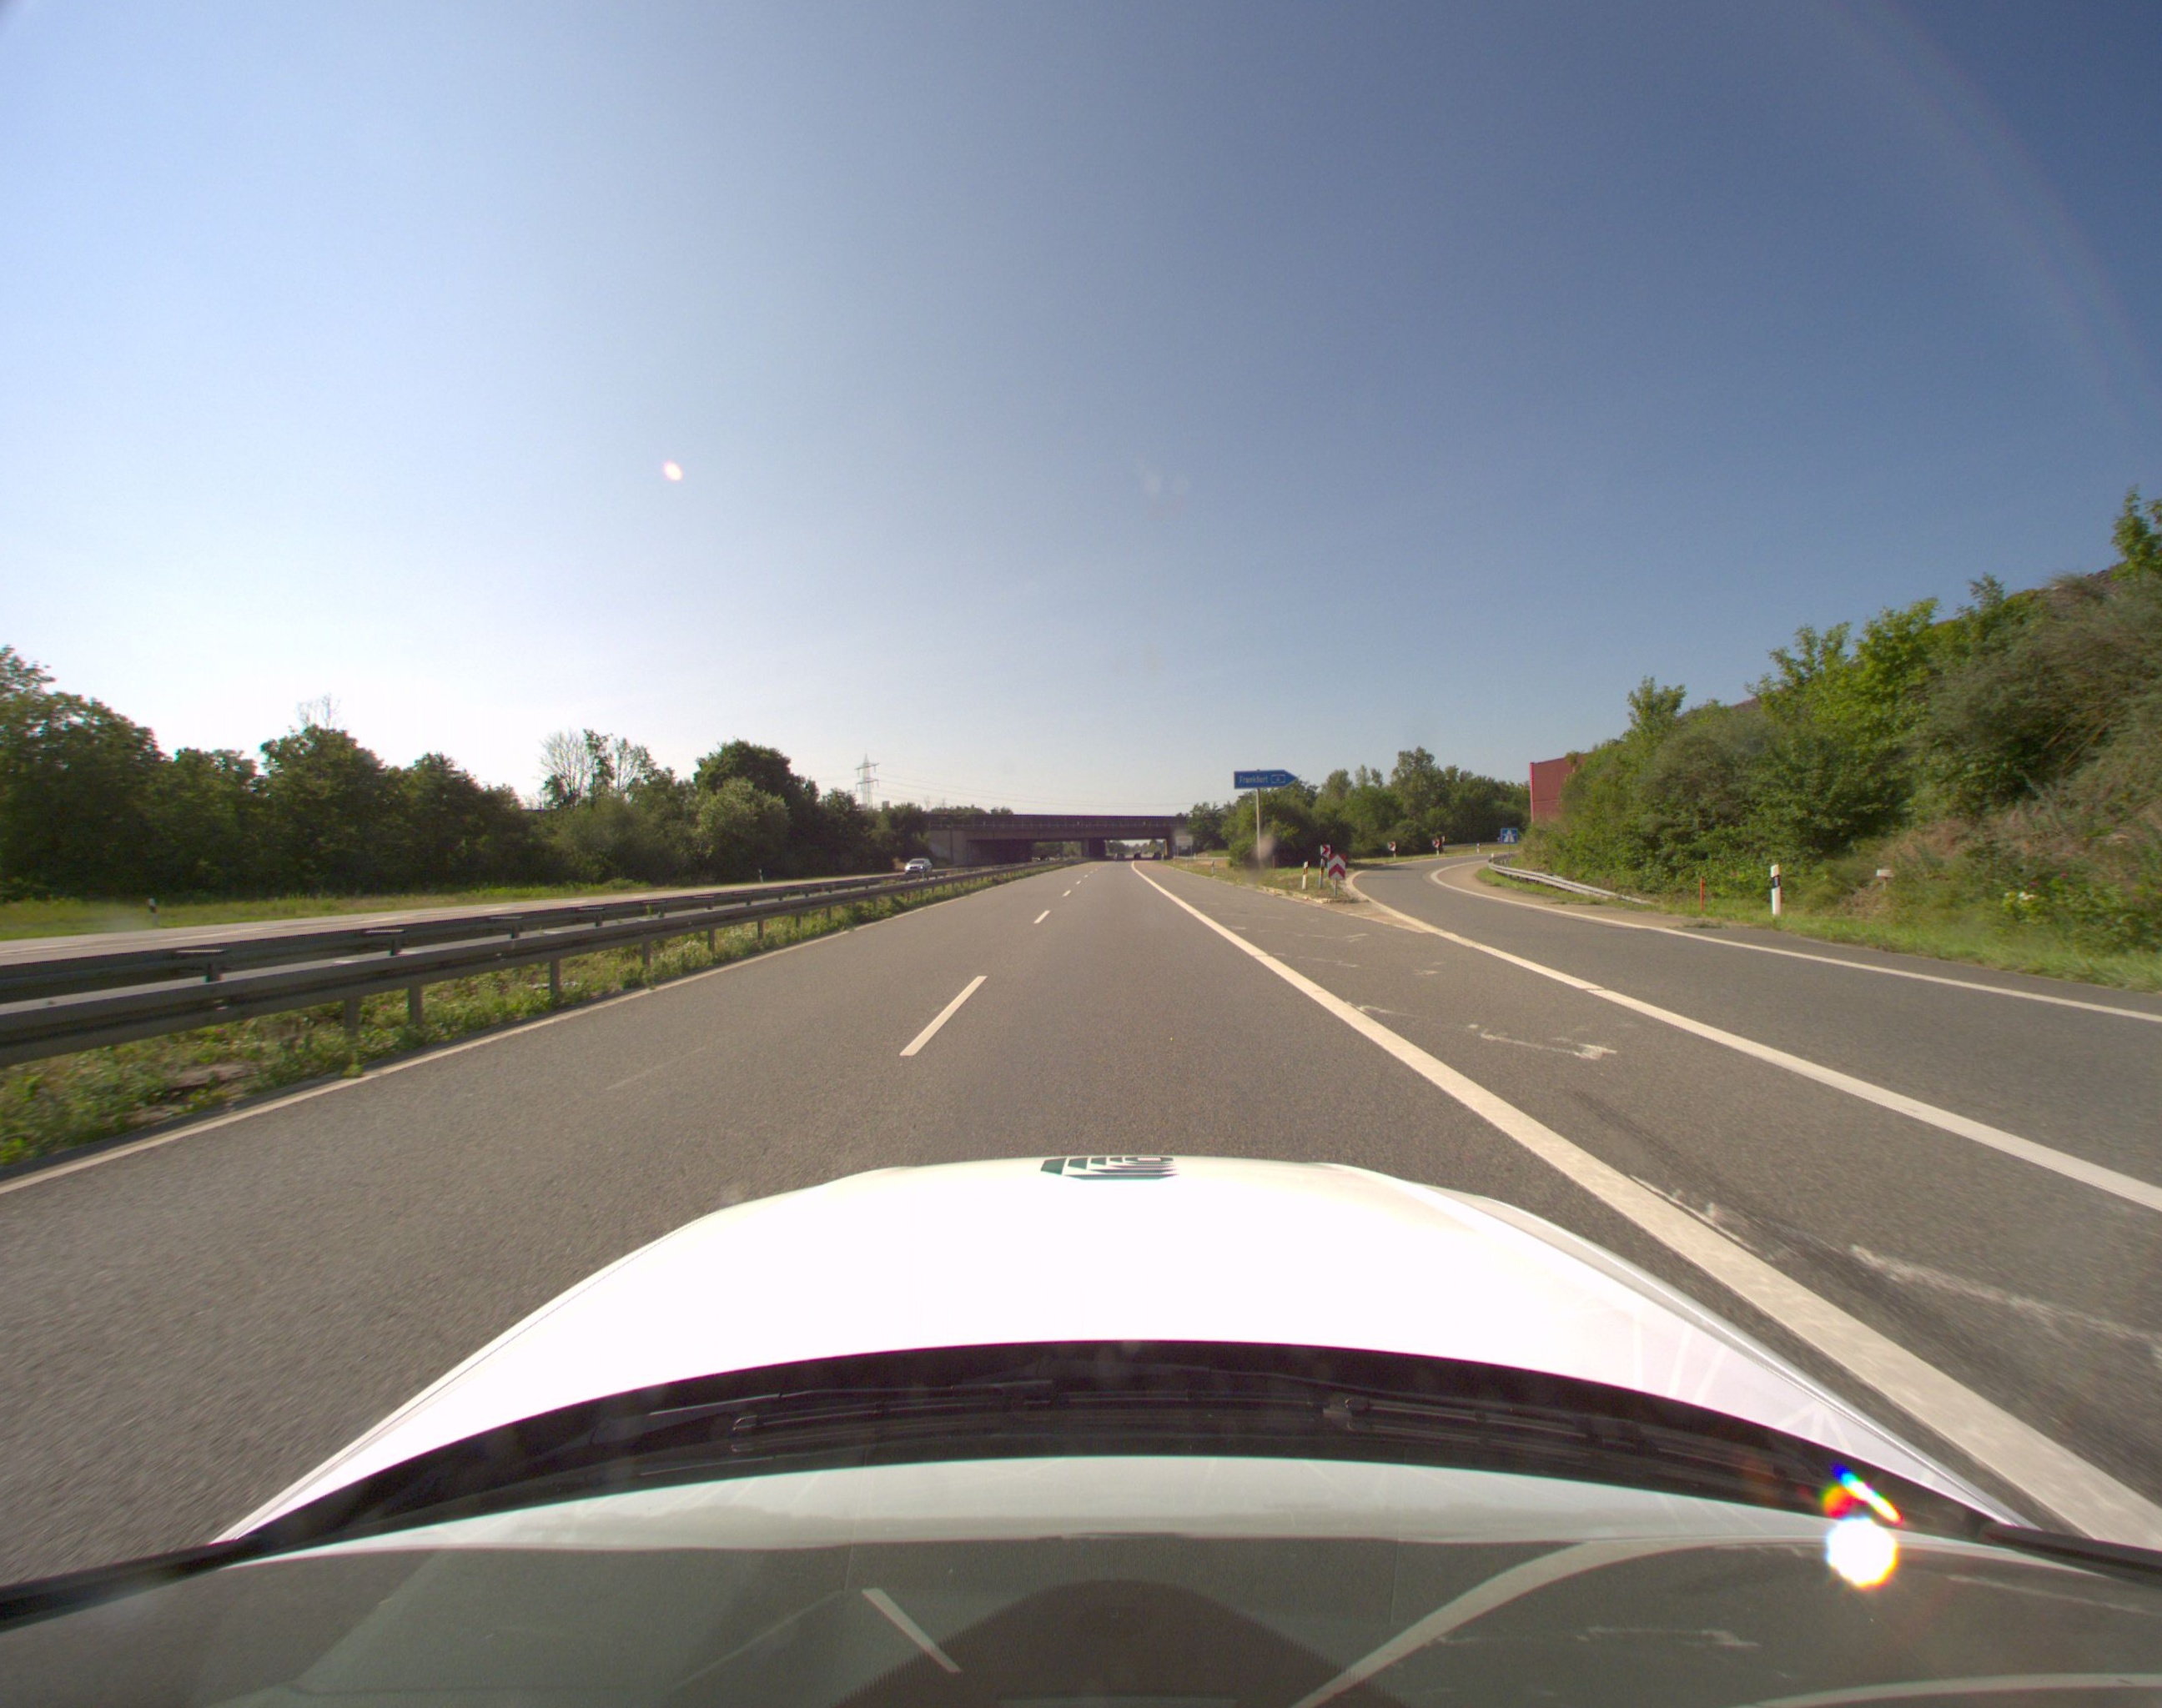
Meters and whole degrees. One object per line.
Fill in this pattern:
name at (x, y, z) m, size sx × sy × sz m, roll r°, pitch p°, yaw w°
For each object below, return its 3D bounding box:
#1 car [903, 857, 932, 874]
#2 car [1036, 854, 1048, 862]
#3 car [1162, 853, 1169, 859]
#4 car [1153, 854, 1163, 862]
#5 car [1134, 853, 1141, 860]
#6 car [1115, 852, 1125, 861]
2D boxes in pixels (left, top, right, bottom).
car at (-14.344, 1.019, 71.683) m, size 1.668 × 1.409 × 3.765 m, roll 0°, pitch 0°, yaw 2°
car at (-7.607, 0.779, 159.947) m, size 1.955 × 1.409 × 3.638 m, roll -2°, pitch 0°, yaw 2°
car at (24.834, 0.602, 238.932) m, size 1.842 × 1.644 × 4.003 m, roll -1°, pitch 0°, yaw 3°
car at (15.906, 0.864, 169.192) m, size 1.842 × 1.644 × 4.003 m, roll -1°, pitch 0°, yaw 3°
car at (14.063, 0.666, 202.652) m, size 1.842 × 1.644 × 4.003 m, roll -1°, pitch 0°, yaw 3°
car at (7.198, 0.430, 150.916) m, size 1.842 × 1.644 × 4.003 m, roll -1°, pitch 0°, yaw 3°
